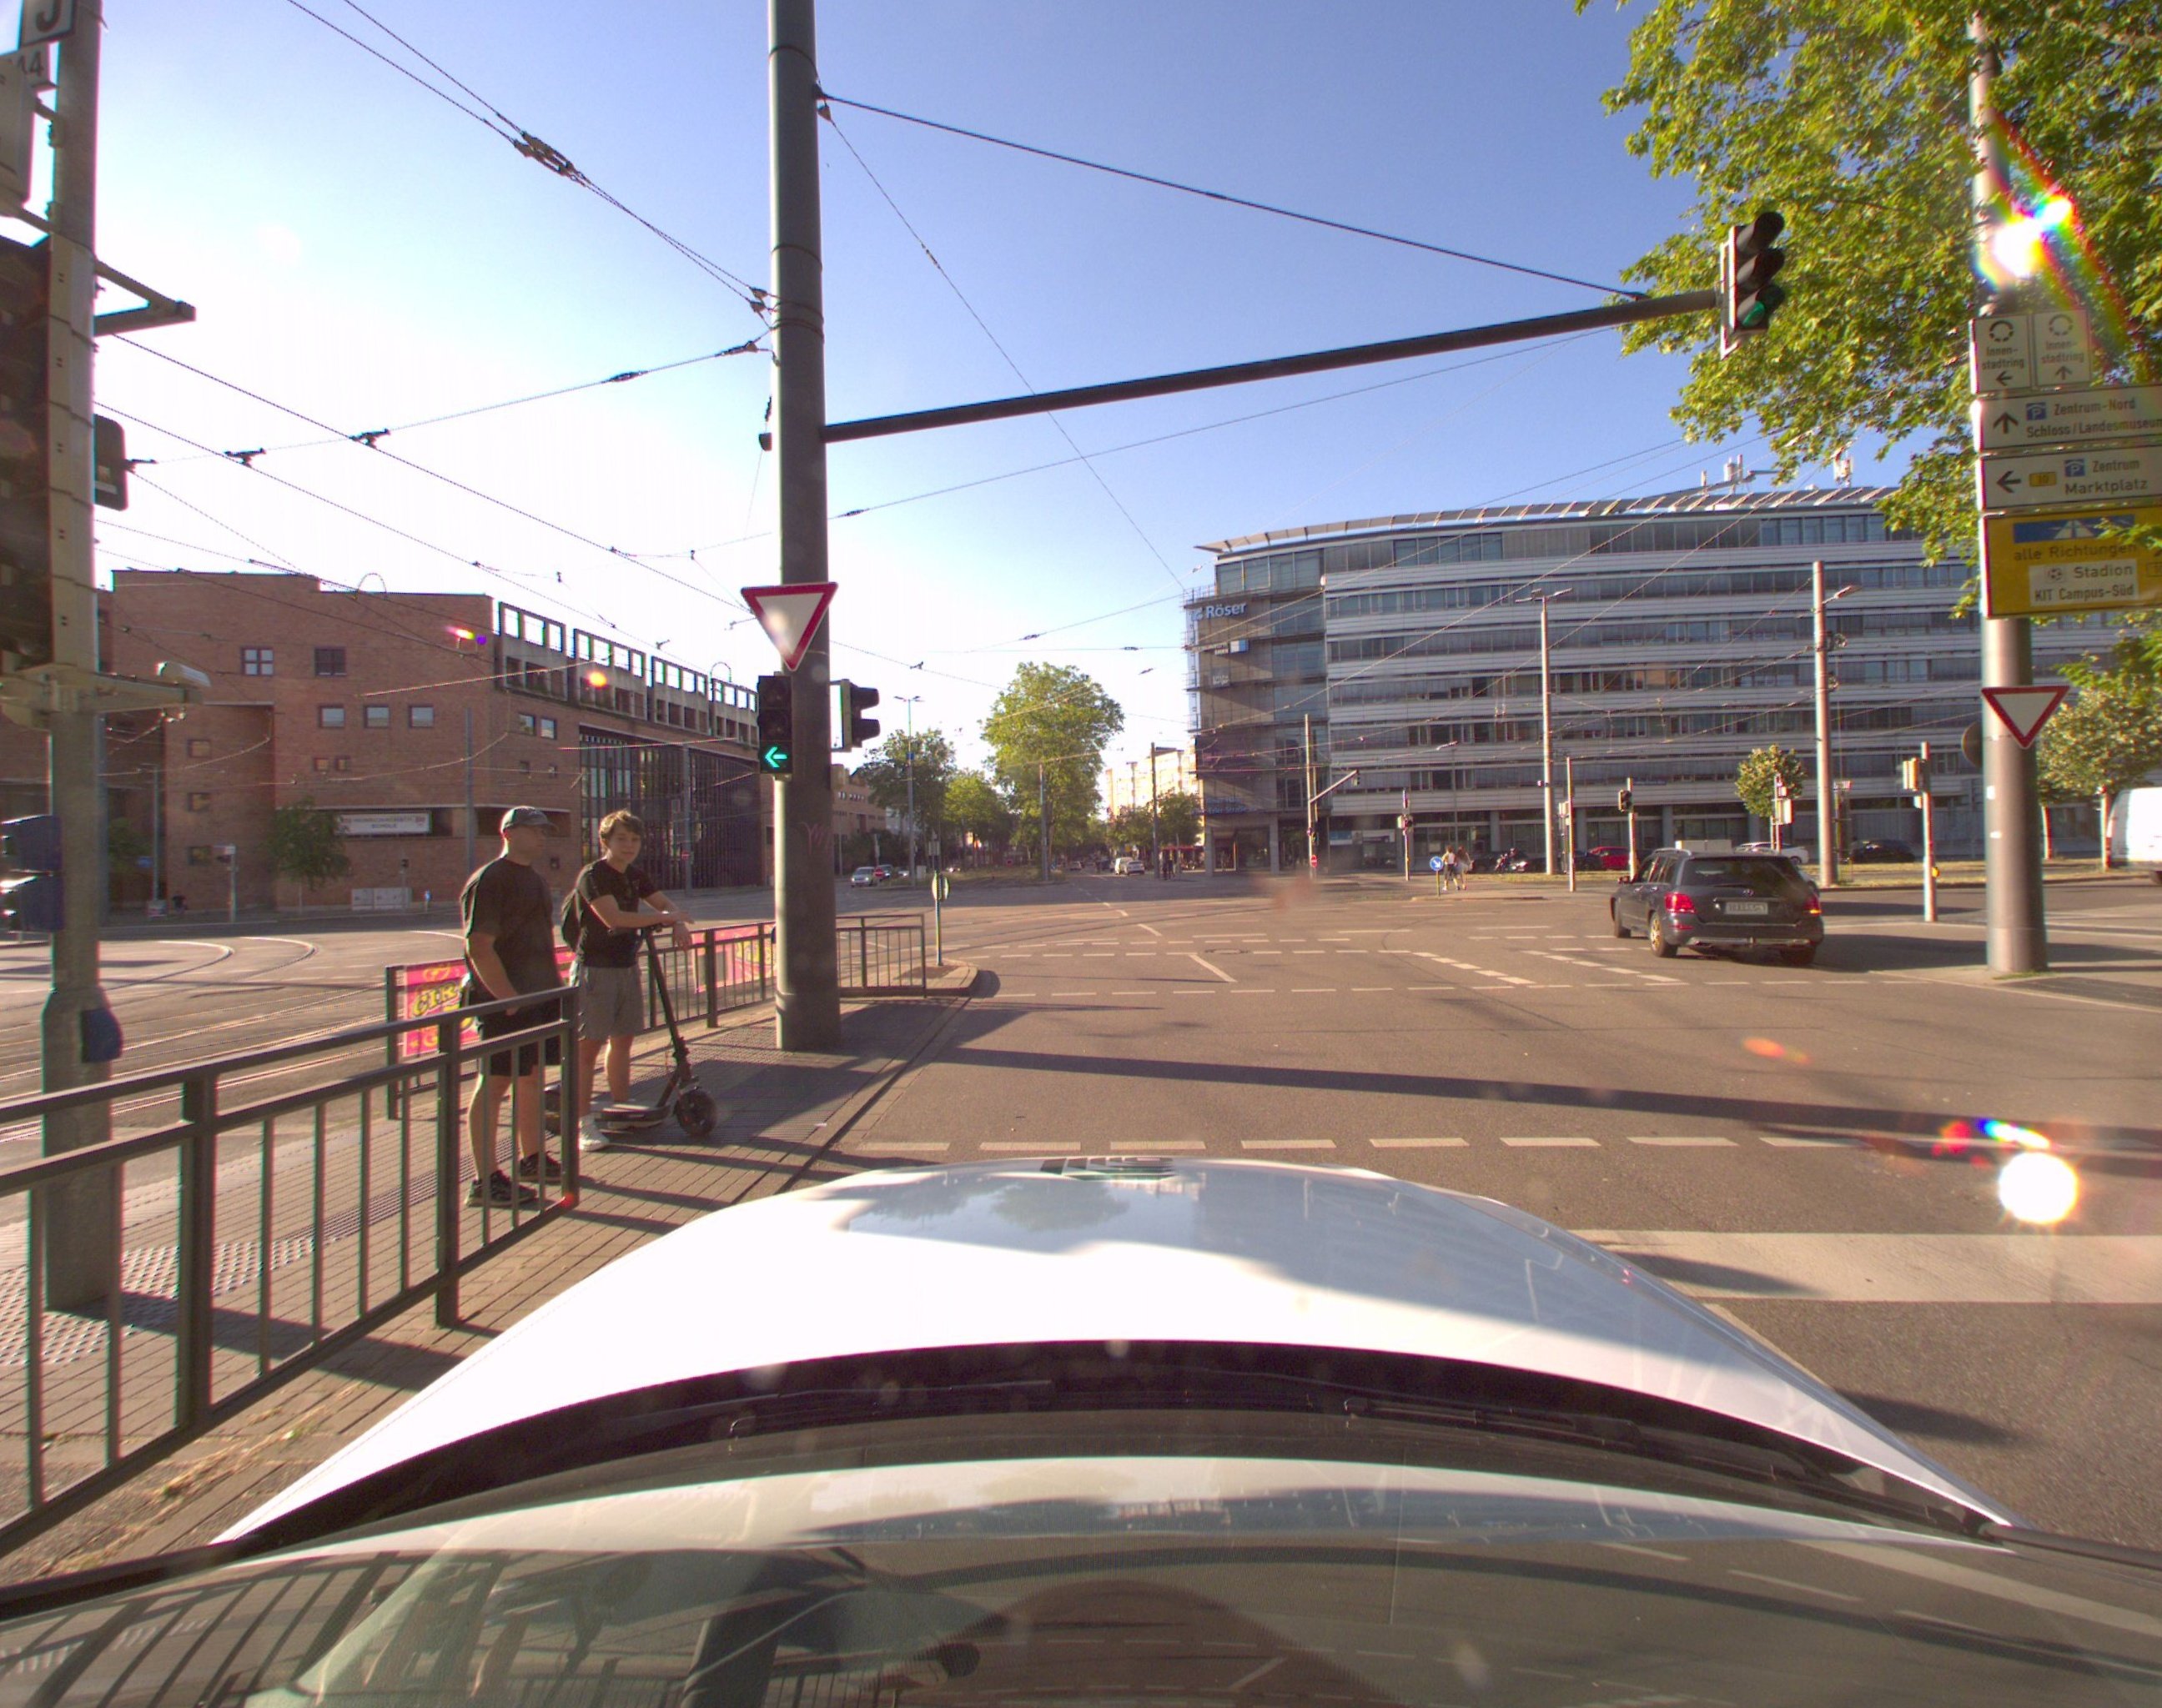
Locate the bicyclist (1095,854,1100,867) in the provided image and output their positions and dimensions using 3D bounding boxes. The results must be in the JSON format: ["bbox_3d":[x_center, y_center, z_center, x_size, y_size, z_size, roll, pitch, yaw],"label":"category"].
[{"bbox_3d":[1.887,0.726,93.204,0.485,1.439,0.616,0,0,2],"label":"bicyclist"}]

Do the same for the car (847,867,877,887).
[{"bbox_3d":[-18.109,1.884,67.370,1.618,1.577,3.994,-2,-1,-4],"label":"car"}]

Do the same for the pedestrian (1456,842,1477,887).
[{"bbox_3d":[15.330,0.424,32.417,0.677,1.759,0.746,-2,-1,25],"label":"pedestrian"}]

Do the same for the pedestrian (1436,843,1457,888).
[{"bbox_3d":[14.672,0.453,32.684,0.671,1.759,0.746,-2,-1,25],"label":"pedestrian"}]

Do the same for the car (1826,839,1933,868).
[{"bbox_3d":[45.333,-0.012,46.324,4.097,1.596,1.884,0,-1,5],"label":"car"}]

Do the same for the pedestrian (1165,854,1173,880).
[{"bbox_3d":[6.774,0.983,62.533,0.584,2.014,0.620,0,-1,2],"label":"pedestrian"}]

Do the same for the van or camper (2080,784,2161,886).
[{"bbox_3d":[30.823,-0.587,21.524,6.459,2.614,2.005,-2,-1,-2],"label":"van or camper"}]

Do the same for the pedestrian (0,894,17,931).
[{"bbox_3d":[-61.646,3.332,46.370,1.003,2.052,0.850,-2,-1,-1],"label":"pedestrian"}]

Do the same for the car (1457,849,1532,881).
[{"bbox_3d":[27.333,0.725,53.902,3.972,2.014,2.001,0,-1,2],"label":"car"}]

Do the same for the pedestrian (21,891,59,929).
[{"bbox_3d":[-59.543,3.188,46.579,1.003,2.052,0.850,-2,-1,-1],"label":"pedestrian"}]

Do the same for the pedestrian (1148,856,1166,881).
[{"bbox_3d":[6.101,1.124,65.272,1.337,1.950,1.011,-2,-1,1],"label":"pedestrian"}]

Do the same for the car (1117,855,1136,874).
[{"bbox_3d":[4.947,1.182,88.957,1.986,2.014,4.001,0,-1,2],"label":"car"}]

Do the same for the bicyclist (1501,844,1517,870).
[{"bbox_3d":[25.419,0.174,48.366,0.660,1.503,0.614,-2,-1,7],"label":"bicyclist"}]

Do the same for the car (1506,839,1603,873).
[{"bbox_3d":[26.470,0.131,45.646,4.234,1.723,1.886,-2,-1,4],"label":"car"}]

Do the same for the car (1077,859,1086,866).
[{"bbox_3d":[0.190,1.754,175.230,1.759,1.404,4.293,-1,-1,-2],"label":"car"}]

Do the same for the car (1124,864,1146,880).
[{"bbox_3d":[5.415,1.776,82.231,2.022,1.596,4.001,0,-1,2],"label":"car"}]

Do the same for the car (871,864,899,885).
[{"bbox_3d":[-17.910,1.868,74.516,1.819,1.790,3.994,-2,-1,-4],"label":"car"}]

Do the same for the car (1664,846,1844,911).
[{"bbox_3d":[16.283,0.550,19.699,3.989,1.428,1.628,-1,-1,-22],"label":"car"}]

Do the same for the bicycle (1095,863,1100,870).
[{"bbox_3d":[1.898,1.464,93.044,0.489,0.788,1.862,-1,-1,2],"label":"bicycle"}]

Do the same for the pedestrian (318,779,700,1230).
[{"bbox_3d":[-2.648,0.650,3.888,1.161,1.884,0.856,-2,-1,6],"label":"pedestrian"}]

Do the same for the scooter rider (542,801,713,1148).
[{"bbox_3d":[-2.611,0.661,4.740,0.563,1.853,0.681,-2,-2,6],"label":"scooter rider"}]

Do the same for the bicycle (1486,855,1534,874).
[{"bbox_3d":[25.468,0.618,48.361,2.397,1.022,0.638,-2,-1,6],"label":"bicycle"}]

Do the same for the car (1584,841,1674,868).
[{"bbox_3d":[32.090,0.060,47.773,3.966,1.552,1.800,0,-1,6],"label":"car"}]

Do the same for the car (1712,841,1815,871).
[{"bbox_3d":[37.209,0.139,44.472,3.968,1.596,1.884,0,-1,5],"label":"car"}]

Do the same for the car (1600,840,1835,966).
[{"bbox_3d":[9.740,0.652,12.890,1.749,1.636,4.272,-1,-1,21],"label":"car"}]

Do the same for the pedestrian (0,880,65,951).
[{"bbox_3d":[-31.121,1.769,23.901,1.029,2.014,1.208,0,-1,2],"label":"pedestrian"}]

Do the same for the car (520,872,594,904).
[{"bbox_3d":[-36.510,2.327,56.894,1.981,2.014,4.204,-2,-1,10],"label":"car"}]

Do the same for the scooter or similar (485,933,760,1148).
[{"bbox_3d":[-2.611,1.042,4.719,1.196,1.081,0.649,-2,-1,5],"label":"scooter or similar"}]

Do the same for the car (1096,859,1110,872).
[{"bbox_3d":[3.417,1.759,126.023,1.986,2.014,4.001,0,-1,2],"label":"car"}]

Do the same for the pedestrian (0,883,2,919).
[{"bbox_3d":[-61.199,2.632,45.282,1.155,2.014,0.910,-2,-1,-2],"label":"pedestrian"}]

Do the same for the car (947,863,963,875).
[{"bbox_3d":[-20.908,2.495,135.391,1.837,1.783,4.002,-2,-1,2],"label":"car"}]

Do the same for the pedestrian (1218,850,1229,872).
[{"bbox_3d":[13.127,0.666,75.126,0.866,2.014,0.794,0,-2,1],"label":"pedestrian"}]

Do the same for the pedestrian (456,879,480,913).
[{"bbox_3d":[-35.657,2.442,47.372,0.720,1.902,0.875,0,-1,-1],"label":"pedestrian"}]

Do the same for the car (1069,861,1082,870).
[{"bbox_3d":[-0.852,1.882,131.480,1.740,1.418,4.004,-1,0,4],"label":"car"}]

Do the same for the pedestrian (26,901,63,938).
[{"bbox_3d":[-60.861,3.848,47.819,1.003,2.052,0.850,-2,-1,-1],"label":"pedestrian"}]

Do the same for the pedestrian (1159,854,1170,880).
[{"bbox_3d":[6.530,1.000,63.691,0.846,2.014,0.707,0,-1,0],"label":"pedestrian"}]

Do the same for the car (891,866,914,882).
[{"bbox_3d":[-18.100,2.028,82.847,1.673,1.607,3.994,0,-1,-4],"label":"car"}]

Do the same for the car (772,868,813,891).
[{"bbox_3d":[-26.596,2.319,75.252,1.867,2.014,4.476,-2,-1,4],"label":"car"}]
